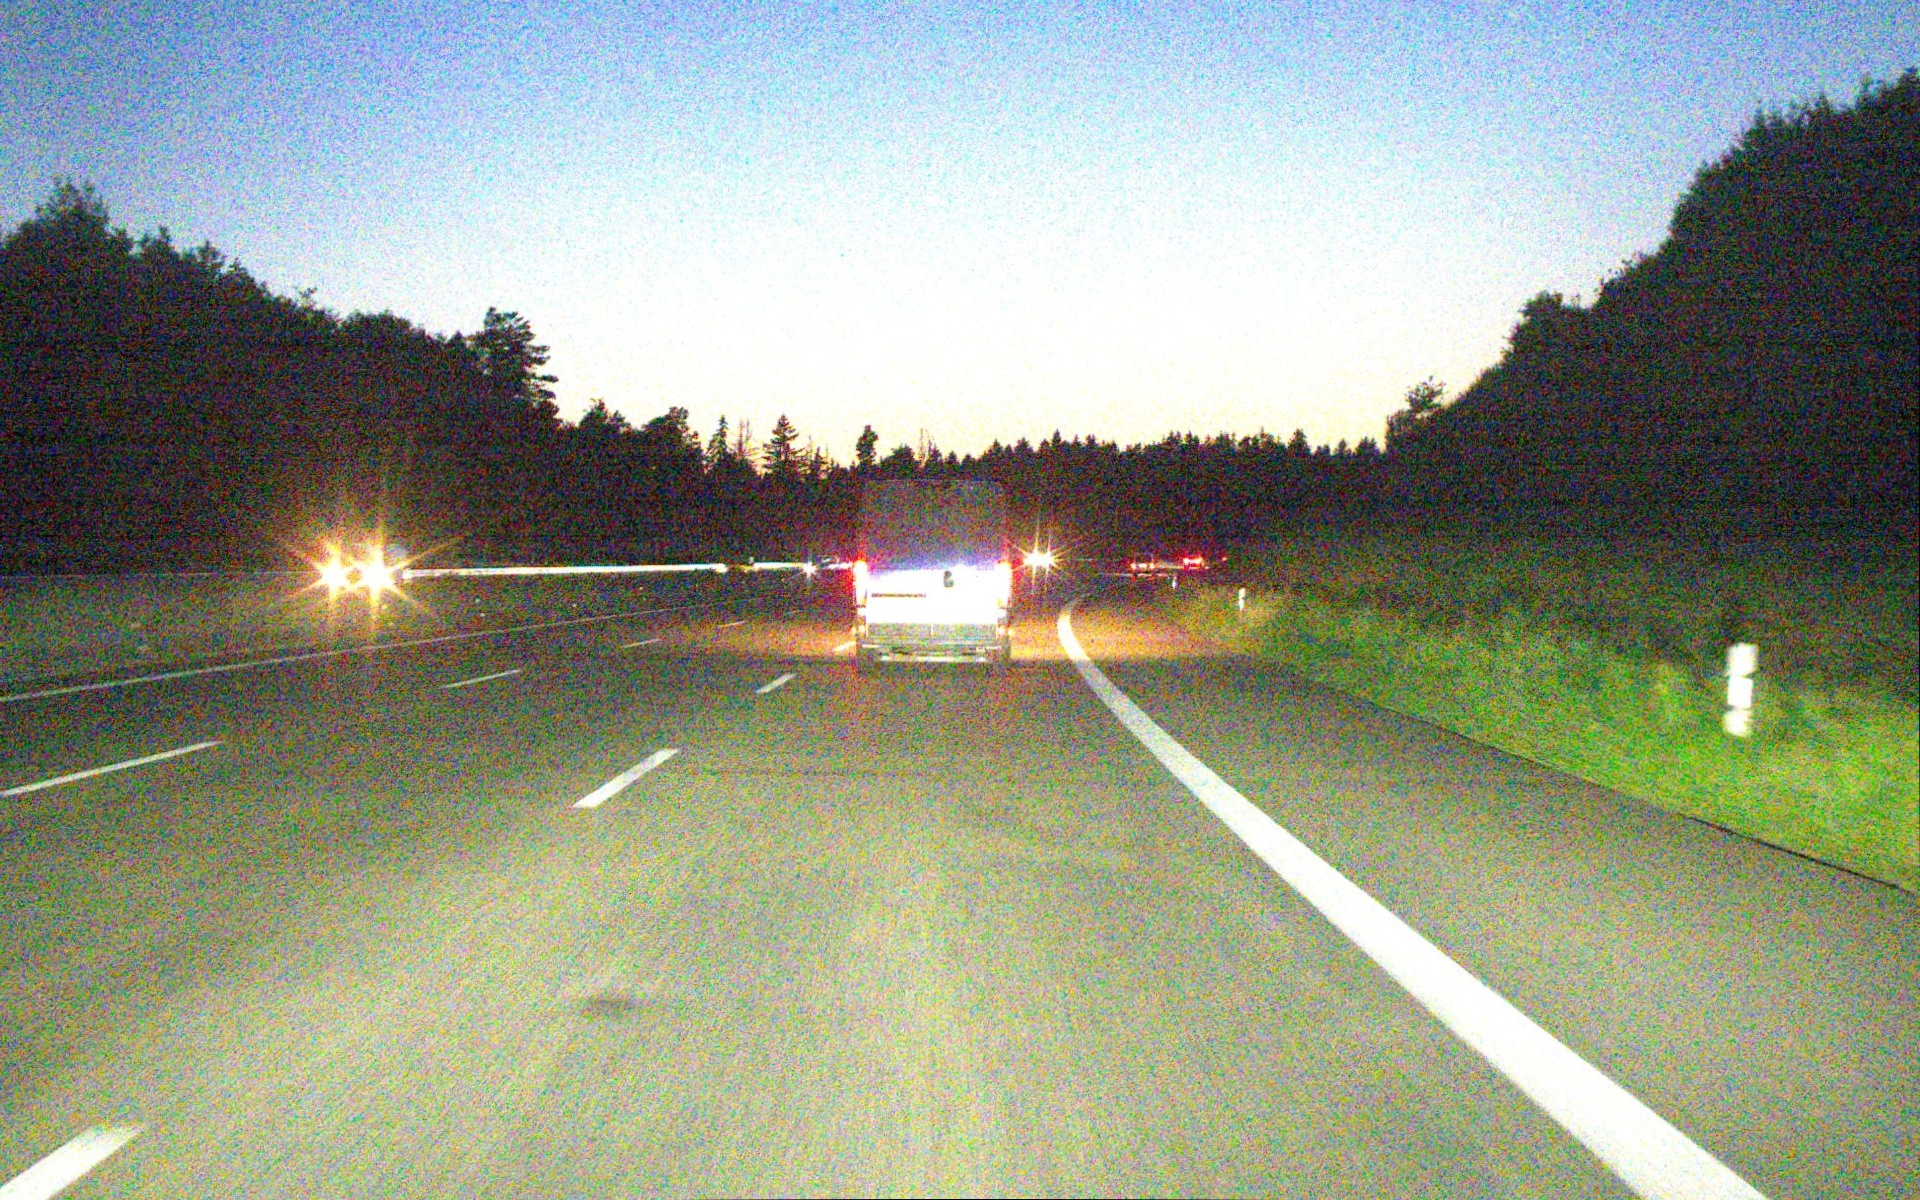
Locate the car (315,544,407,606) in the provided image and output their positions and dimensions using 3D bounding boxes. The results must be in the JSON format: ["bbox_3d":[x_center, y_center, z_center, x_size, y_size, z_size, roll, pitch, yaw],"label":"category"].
[{"bbox_3d":[-17.836,-0.729,102.451,1.993,1.780,4.399,1,0,0],"label":"car"}]

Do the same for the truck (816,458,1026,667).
[{"bbox_3d":[-0.439,-0.484,47.784,2.630,2.615,8.684,1,0,1],"label":"truck"}]
